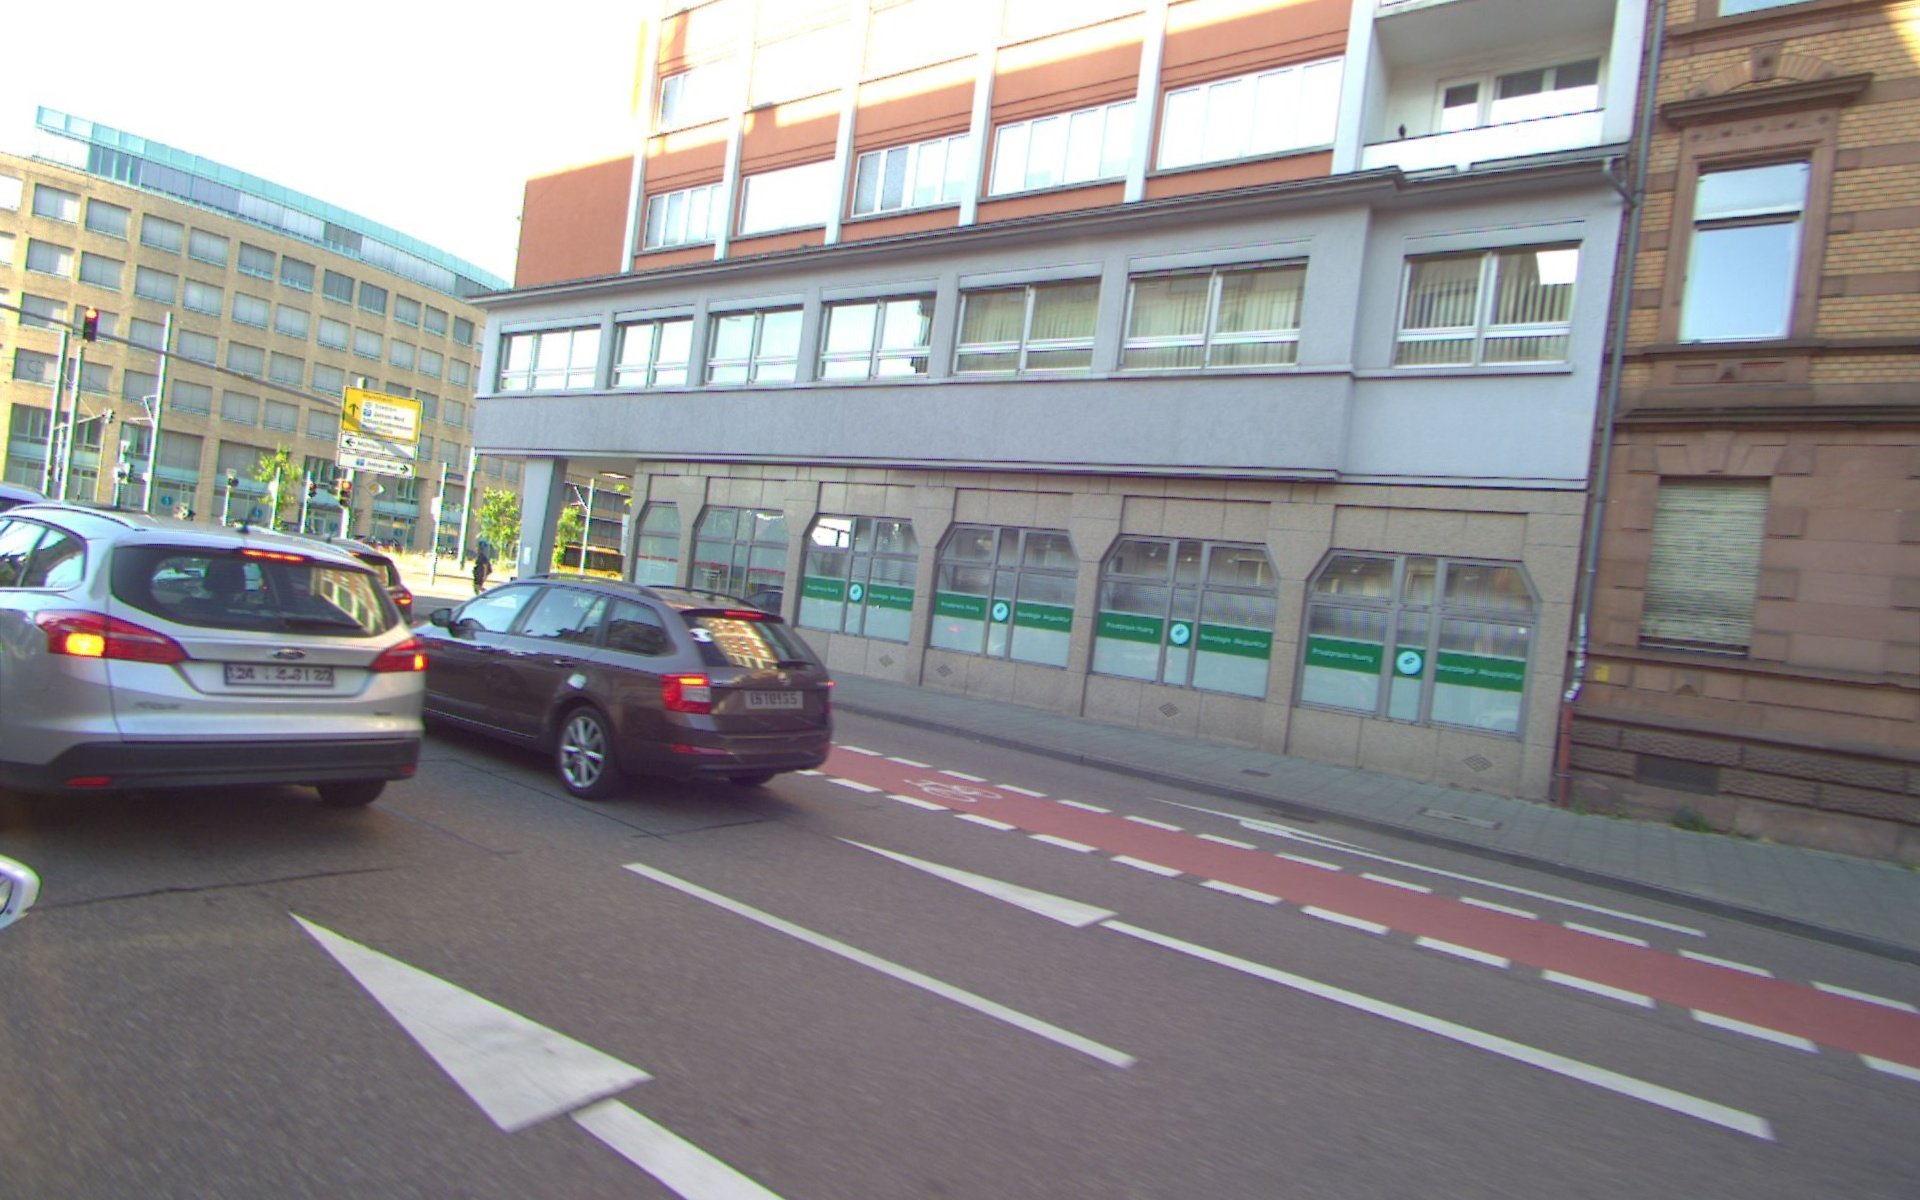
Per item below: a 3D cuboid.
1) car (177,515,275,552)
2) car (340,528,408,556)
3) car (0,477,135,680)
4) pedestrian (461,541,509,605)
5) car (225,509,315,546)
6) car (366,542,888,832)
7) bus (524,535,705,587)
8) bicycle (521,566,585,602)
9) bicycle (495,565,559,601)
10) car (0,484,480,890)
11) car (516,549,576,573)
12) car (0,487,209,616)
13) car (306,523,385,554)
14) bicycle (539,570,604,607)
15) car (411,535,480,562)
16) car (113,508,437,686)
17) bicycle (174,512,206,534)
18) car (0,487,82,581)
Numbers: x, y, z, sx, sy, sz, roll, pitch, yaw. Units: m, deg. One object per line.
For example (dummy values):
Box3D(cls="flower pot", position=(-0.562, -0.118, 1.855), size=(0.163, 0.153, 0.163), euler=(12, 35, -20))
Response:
Box3D(cls="car", position=(-47.510, -4.284, 65.206), size=(1.967, 1.617, 4.652), euler=(7, 0, 32))
Box3D(cls="car", position=(-40.466, -3.972, 69.485), size=(1.695, 1.358, 3.610), euler=(7, 0, 35))
Box3D(cls="car", position=(-9.090, -0.365, 8.840), size=(3.560, 1.588, 1.805), euler=(7, 0, 34))
Box3D(cls="pedestrian", position=(-14.295, -0.806, 30.271), size=(0.659, 1.790, 0.943), euler=(8, 1, 40))
Box3D(cls="car", position=(-44.122, -4.615, 64.393), size=(1.969, 1.634, 4.229), euler=(7, 0, 36))
Box3D(cls="car", position=(-2.761, 0.529, 7.958), size=(4.092, 1.475, 1.708), euler=(7, 0, 35))
Box3D(cls="bus", position=(-30.604, -3.350, 91.117), size=(2.382, 2.466, 18.197), euler=(8, 0, 31))
Box3D(cls="bicycle", position=(-15.098, -0.583, 37.364), size=(0.730, 1.130, 2.087), euler=(8, 1, 34))
Box3D(cls="bicycle", position=(-16.401, -0.647, 38.168), size=(0.730, 1.130, 2.087), euler=(8, 1, 34))
Box3D(cls="car", position=(-4.798, 0.212, 5.763), size=(4.240, 1.528, 1.709), euler=(7, -1, 35))
Box3D(cls="car", position=(-33.245, -3.117, 80.877), size=(1.967, 1.362, 3.991), euler=(7, -1, 33))
Box3D(cls="car", position=(-13.070, -0.753, 15.293), size=(3.423, 1.524, 1.490), euler=(7, 0, 34))
Box3D(cls="car", position=(-43.387, -4.320, 71.098), size=(1.967, 1.520, 4.234), euler=(7, 0, 32))
Box3D(cls="bicycle", position=(-14.130, -0.401, 36.606), size=(0.730, 1.130, 2.087), euler=(8, 1, 34))
Box3D(cls="car", position=(-37.798, -3.790, 73.952), size=(1.967, 1.362, 3.991), euler=(7, -1, 33))
Box3D(cls="car", position=(-8.105, -0.079, 11.780), size=(4.172, 1.502, 1.652), euler=(7, -1, 35))
Box3D(cls="bicycle", position=(-49.853, -4.983, 65.177), size=(1.515, 1.187, 0.469), euler=(7, 1, -45))
Box3D(cls="car", position=(-17.459, -1.325, 18.089), size=(3.590, 1.463, 1.586), euler=(7, -1, 35))
